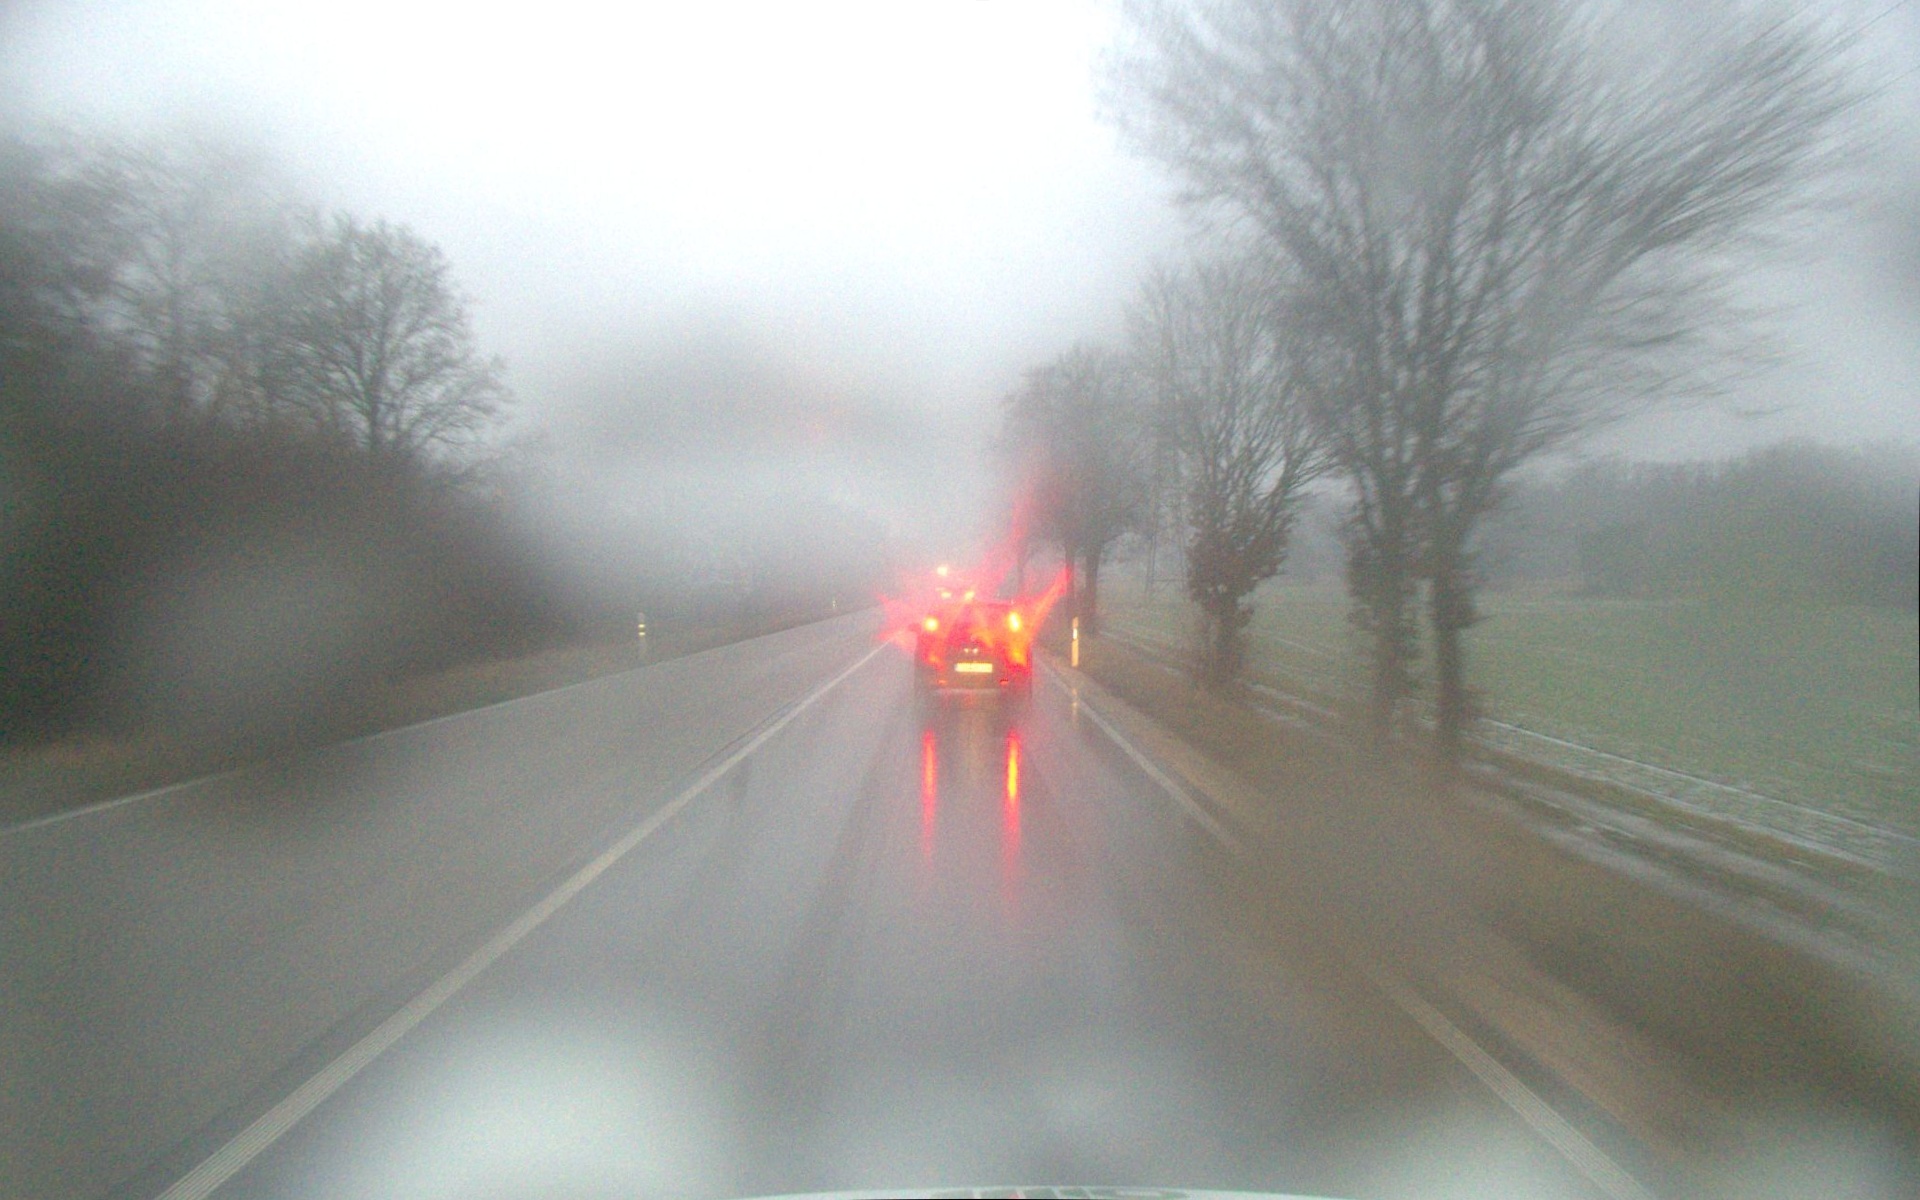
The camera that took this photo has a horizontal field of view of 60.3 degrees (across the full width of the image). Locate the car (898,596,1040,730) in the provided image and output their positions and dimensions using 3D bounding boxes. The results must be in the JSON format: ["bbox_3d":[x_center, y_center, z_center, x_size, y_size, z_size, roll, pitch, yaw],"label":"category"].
[{"bbox_3d":[0.140,0.857,24.762,1.952,1.782,4.000,0,1,0],"label":"car"}]

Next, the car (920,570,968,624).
[{"bbox_3d":[-0.746,-0.171,78.595,1.953,2.046,4.004,5,5,2],"label":"car"}]
